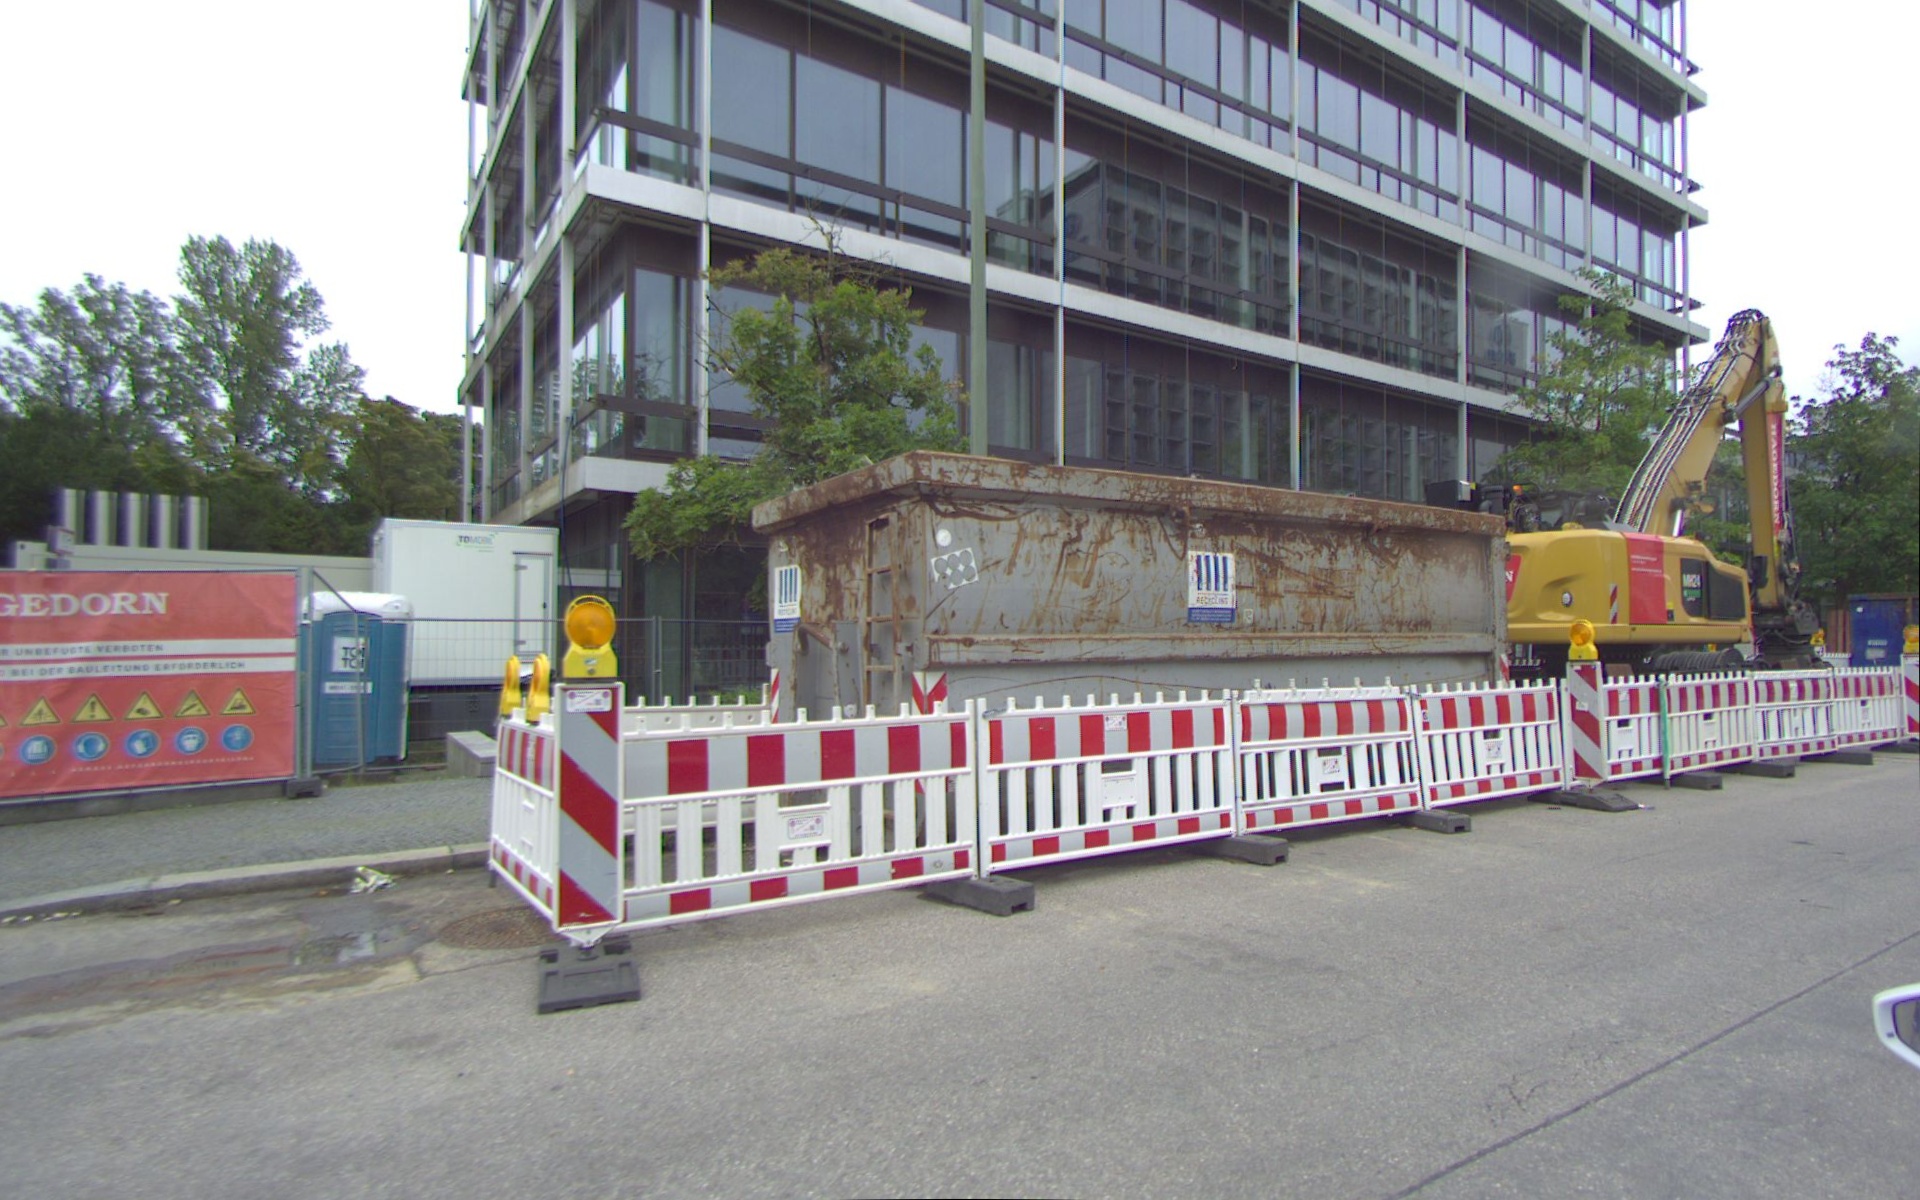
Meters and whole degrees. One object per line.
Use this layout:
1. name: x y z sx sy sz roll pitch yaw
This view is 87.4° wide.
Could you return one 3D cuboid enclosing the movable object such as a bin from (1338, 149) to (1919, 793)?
1. movable object such as a bin: 10.474 -1.210 14.800 11.660 6.650 2.887 1 -2 -34
